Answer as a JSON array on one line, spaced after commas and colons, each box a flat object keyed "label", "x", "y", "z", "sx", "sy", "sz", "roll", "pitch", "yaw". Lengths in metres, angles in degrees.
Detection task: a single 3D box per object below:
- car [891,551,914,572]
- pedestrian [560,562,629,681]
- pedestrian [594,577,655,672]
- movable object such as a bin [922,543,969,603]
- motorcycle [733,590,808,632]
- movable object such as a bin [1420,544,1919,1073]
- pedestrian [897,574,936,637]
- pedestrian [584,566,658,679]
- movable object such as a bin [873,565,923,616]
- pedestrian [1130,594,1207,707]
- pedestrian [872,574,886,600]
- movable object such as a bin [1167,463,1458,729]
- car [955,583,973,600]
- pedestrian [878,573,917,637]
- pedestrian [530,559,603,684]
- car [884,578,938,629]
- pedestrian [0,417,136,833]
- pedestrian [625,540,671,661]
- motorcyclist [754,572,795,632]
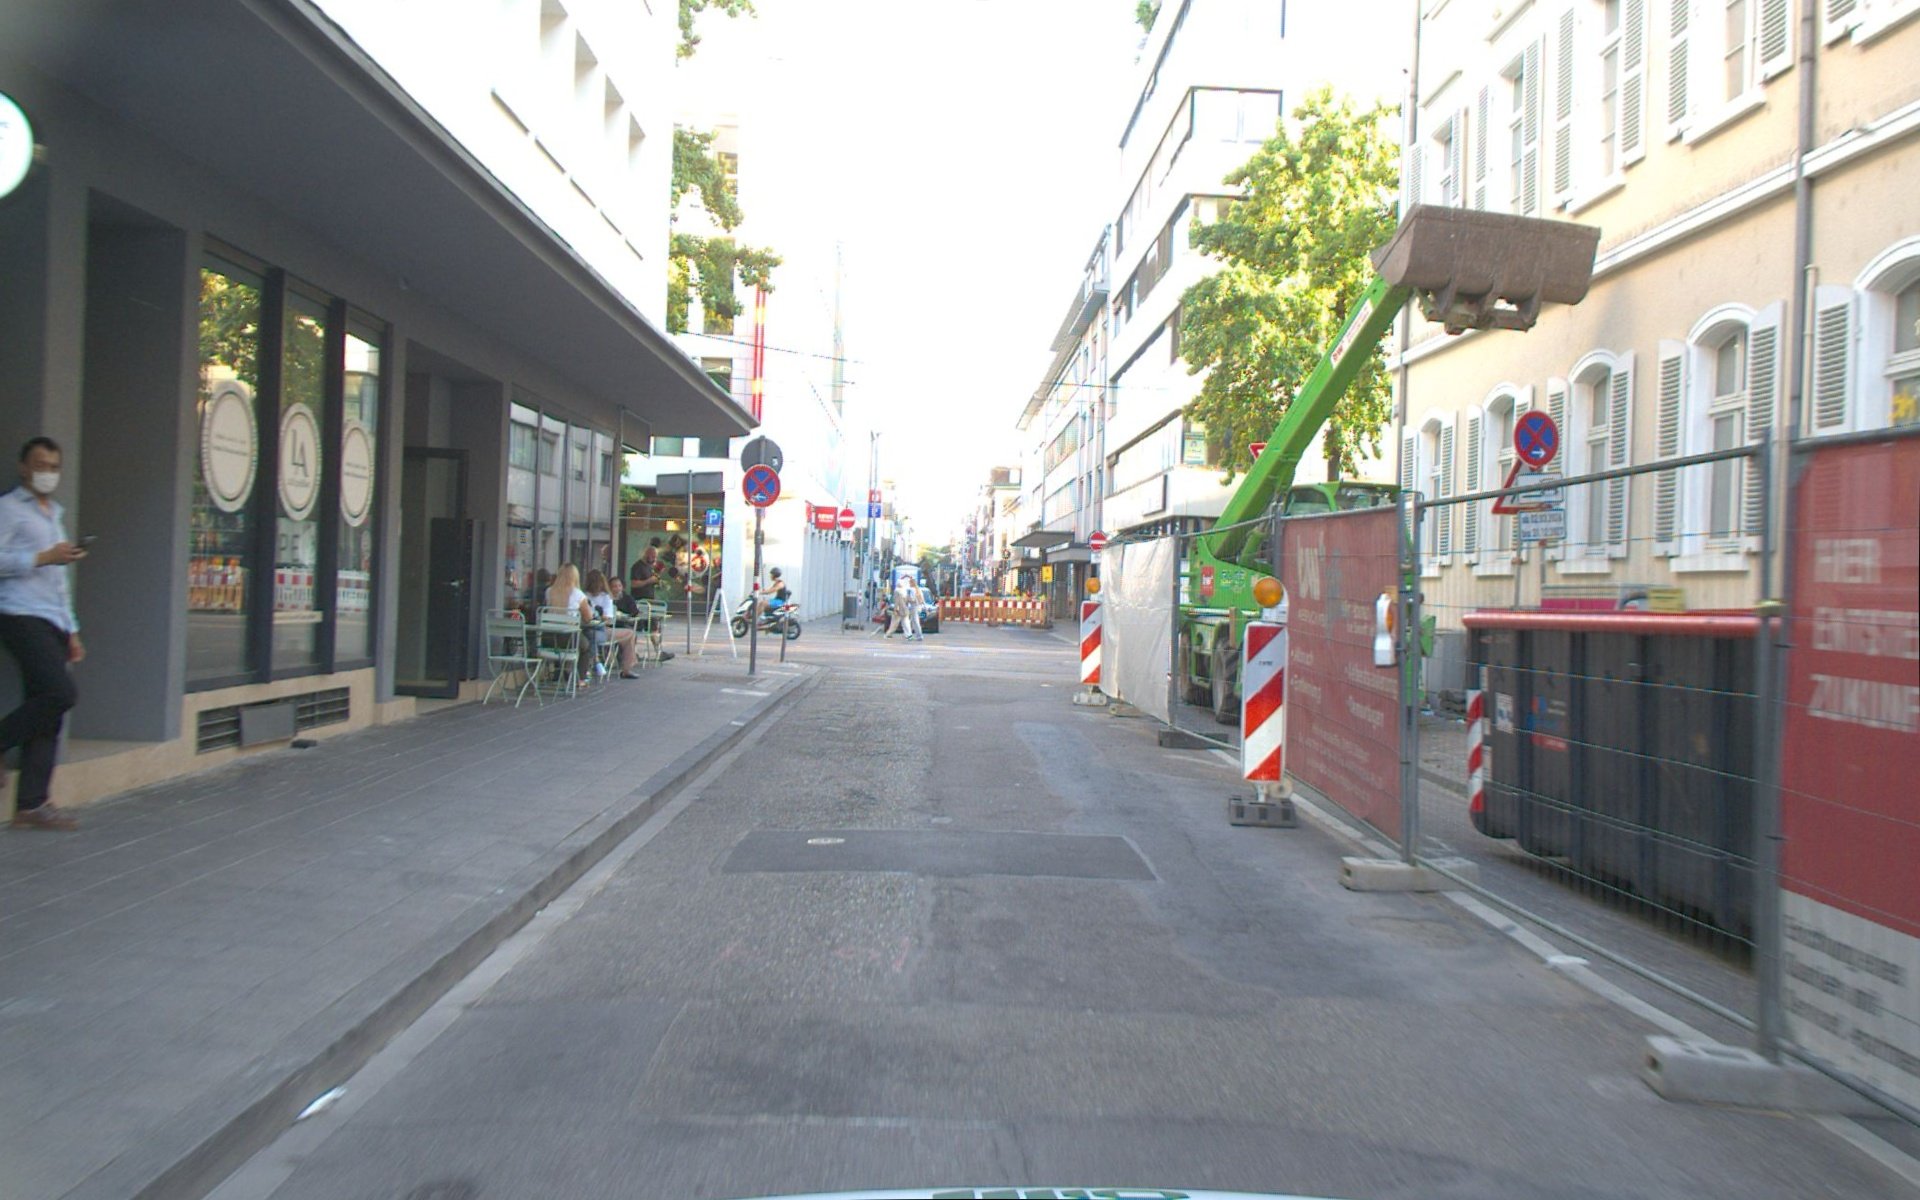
[{"label": "car", "x": -5.135, "y": -3.453, "z": 149.117, "sx": 1.953, "sy": 1.807, "sz": 3.999, "roll": 1, "pitch": 1, "yaw": -1}, {"label": "pedestrian", "x": -4.194, "y": 0.235, "z": 18.991, "sx": 0.561, "sy": 1.297, "sz": 0.713, "roll": 4, "pitch": 1, "yaw": -1}, {"label": "pedestrian", "x": -4.243, "y": 0.301, "z": 20.932, "sx": 0.561, "sy": 1.133, "sz": 0.713, "roll": 4, "pitch": 1, "yaw": -1}, {"label": "movable object such as a bin", "x": -0.749, "y": -1.290, "z": 79.634, "sx": 2.113, "sy": 2.710, "sz": 4.571, "roll": 2, "pitch": 1, "yaw": -1}, {"label": "motorcycle", "x": -4.543, "y": 0.266, "z": 39.709, "sx": 1.722, "sy": 0.935, "sz": 0.640, "roll": 2, "pitch": 0, "yaw": -12}, {"label": "movable object such as a bin", "x": 4.347, "y": 0.698, "z": 6.489, "sx": 2.681, "sy": 1.667, "sz": 7.550, "roll": 3, "pitch": 1, "yaw": -2}, {"label": "pedestrian", "x": -1.168, "y": 0.138, "z": 44.280, "sx": 0.607, "sy": 1.656, "sz": 0.859, "roll": 1, "pitch": 1, "yaw": -44}, {"label": "pedestrian", "x": -4.094, "y": 0.257, "z": 20.018, "sx": 0.688, "sy": 1.297, "sz": 0.713, "roll": 4, "pitch": 1, "yaw": -1}, {"label": "movable object such as a bin", "x": -2.565, "y": -0.429, "z": 69.421, "sx": 1.953, "sy": 2.049, "sz": 4.000, "roll": 1, "pitch": 1, "yaw": -1}, {"label": "pedestrian", "x": 3.516, "y": 0.841, "z": 27.944, "sx": 1.056, "sy": 1.867, "sz": 0.693, "roll": 1, "pitch": 1, "yaw": -22}, {"label": "pedestrian", "x": -4.583, "y": -0.747, "z": 93.680, "sx": 0.701, "sy": 1.490, "sz": 0.525, "roll": 1, "pitch": 0, "yaw": 0}, {"label": "movable object such as a bin", "x": 4.176, "y": -0.075, "z": 20.499, "sx": 2.552, "sy": 2.888, "sz": 4.449, "roll": 1, "pitch": 1, "yaw": -1}, {"label": "car", "x": 0.475, "y": -1.006, "z": 193.601, "sx": 1.953, "sy": 1.807, "sz": 3.999, "roll": 1, "pitch": 1, "yaw": -1}, {"label": "pedestrian", "x": -1.656, "y": 0.134, "z": 43.857, "sx": 0.607, "sy": 1.656, "sz": 0.859, "roll": 1, "pitch": 1, "yaw": -44}, {"label": "pedestrian", "x": -4.288, "y": 0.223, "z": 18.057, "sx": 0.561, "sy": 1.297, "sz": 0.713, "roll": 4, "pitch": 1, "yaw": -1}, {"label": "car", "x": -1.646, "y": 0.105, "z": 54.304, "sx": 1.597, "sy": 1.577, "sz": 3.140, "roll": 1, "pitch": 1, "yaw": -4}, {"label": "pedestrian", "x": -4.251, "y": 0.107, "z": 7.729, "sx": 0.520, "sy": 1.866, "sz": 0.562, "roll": 2, "pitch": 1, "yaw": -7}, {"label": "pedestrian", "x": -4.496, "y": 0.001, "z": 23.893, "sx": 0.495, "sy": 1.696, "sz": 0.686, "roll": 3, "pitch": 0, "yaw": -6}, {"label": "motorcyclist", "x": -4.468, "y": 0.044, "z": 39.727, "sx": 0.879, "sy": 1.412, "sz": 0.670, "roll": 2, "pitch": 1, "yaw": -11}]
